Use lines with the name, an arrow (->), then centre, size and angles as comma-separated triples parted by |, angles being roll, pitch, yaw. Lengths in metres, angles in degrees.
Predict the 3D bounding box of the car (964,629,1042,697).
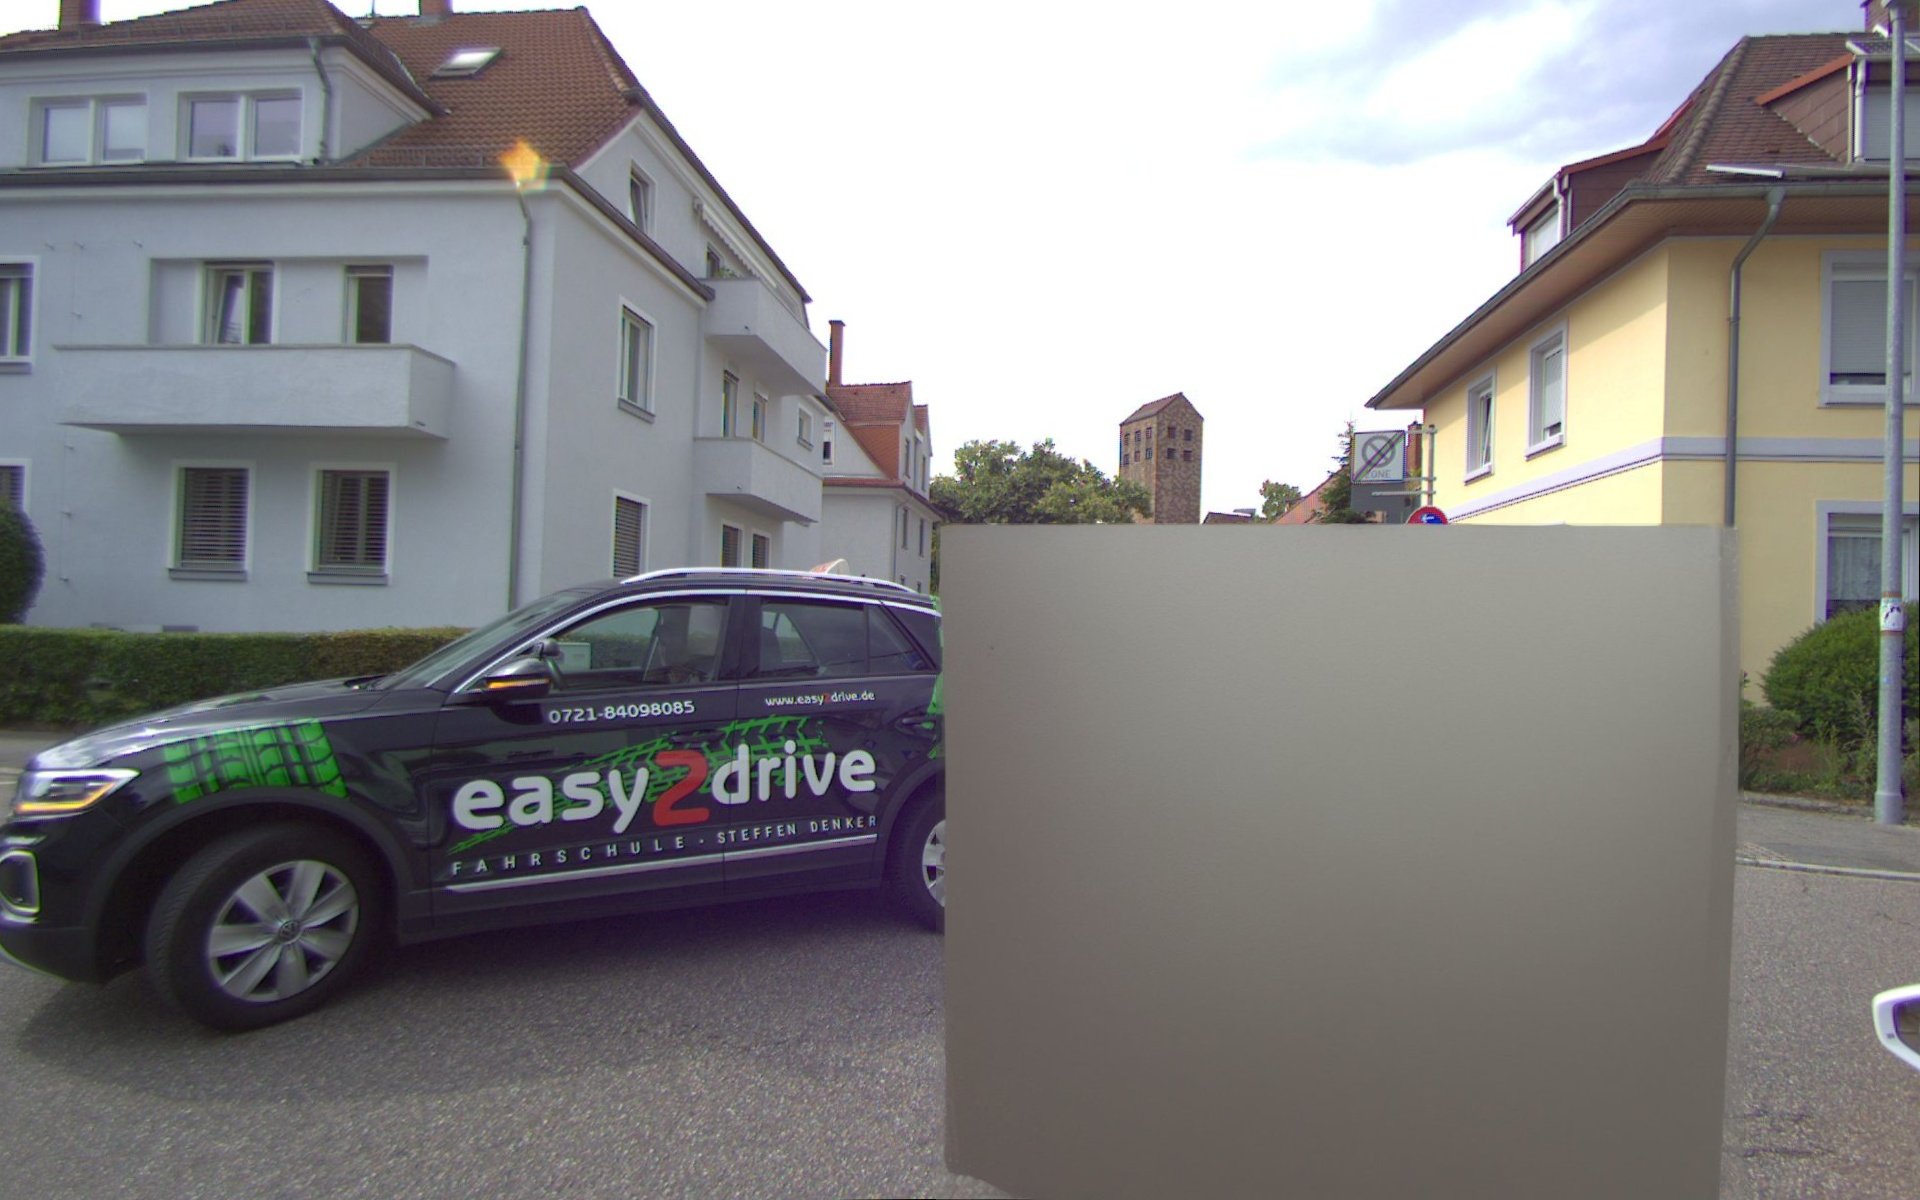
car -> 1.125, 1.501, 24.705 | 1.617, 1.515, 3.484 | -2, -2, 7

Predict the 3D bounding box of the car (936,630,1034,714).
car -> 0.587, 1.394, 20.312 | 1.617, 1.515, 3.484 | -2, -2, 7

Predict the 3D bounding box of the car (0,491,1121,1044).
car -> -1.442, 0.559, 4.504 | 3.993, 1.540, 1.809 | 3, -2, -28

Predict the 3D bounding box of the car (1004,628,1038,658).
car -> 3.186, 2.254, 52.861 | 1.618, 1.515, 3.483 | -2, -2, 1

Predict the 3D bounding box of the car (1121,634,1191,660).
car -> 12.318, 2.946, 63.298 | 4.142, 1.483, 1.685 | 2, 0, 7

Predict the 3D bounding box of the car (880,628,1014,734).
car -> -0.098, 1.199, 15.745 | 1.617, 1.440, 3.484 | -2, -2, 7

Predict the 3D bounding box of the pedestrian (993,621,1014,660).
pedestrian -> 2.166, 1.992, 49.856 | 0.866, 1.903, 1.079 | 1, -1, 8

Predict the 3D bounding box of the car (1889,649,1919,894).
car -> 7.780, 1.087, 5.241 | 3.959, 1.500, 1.856 | 2, -2, 8

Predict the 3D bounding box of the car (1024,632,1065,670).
car -> 3.627, 2.146, 42.747 | 1.617, 1.515, 3.484 | -2, -2, 7
